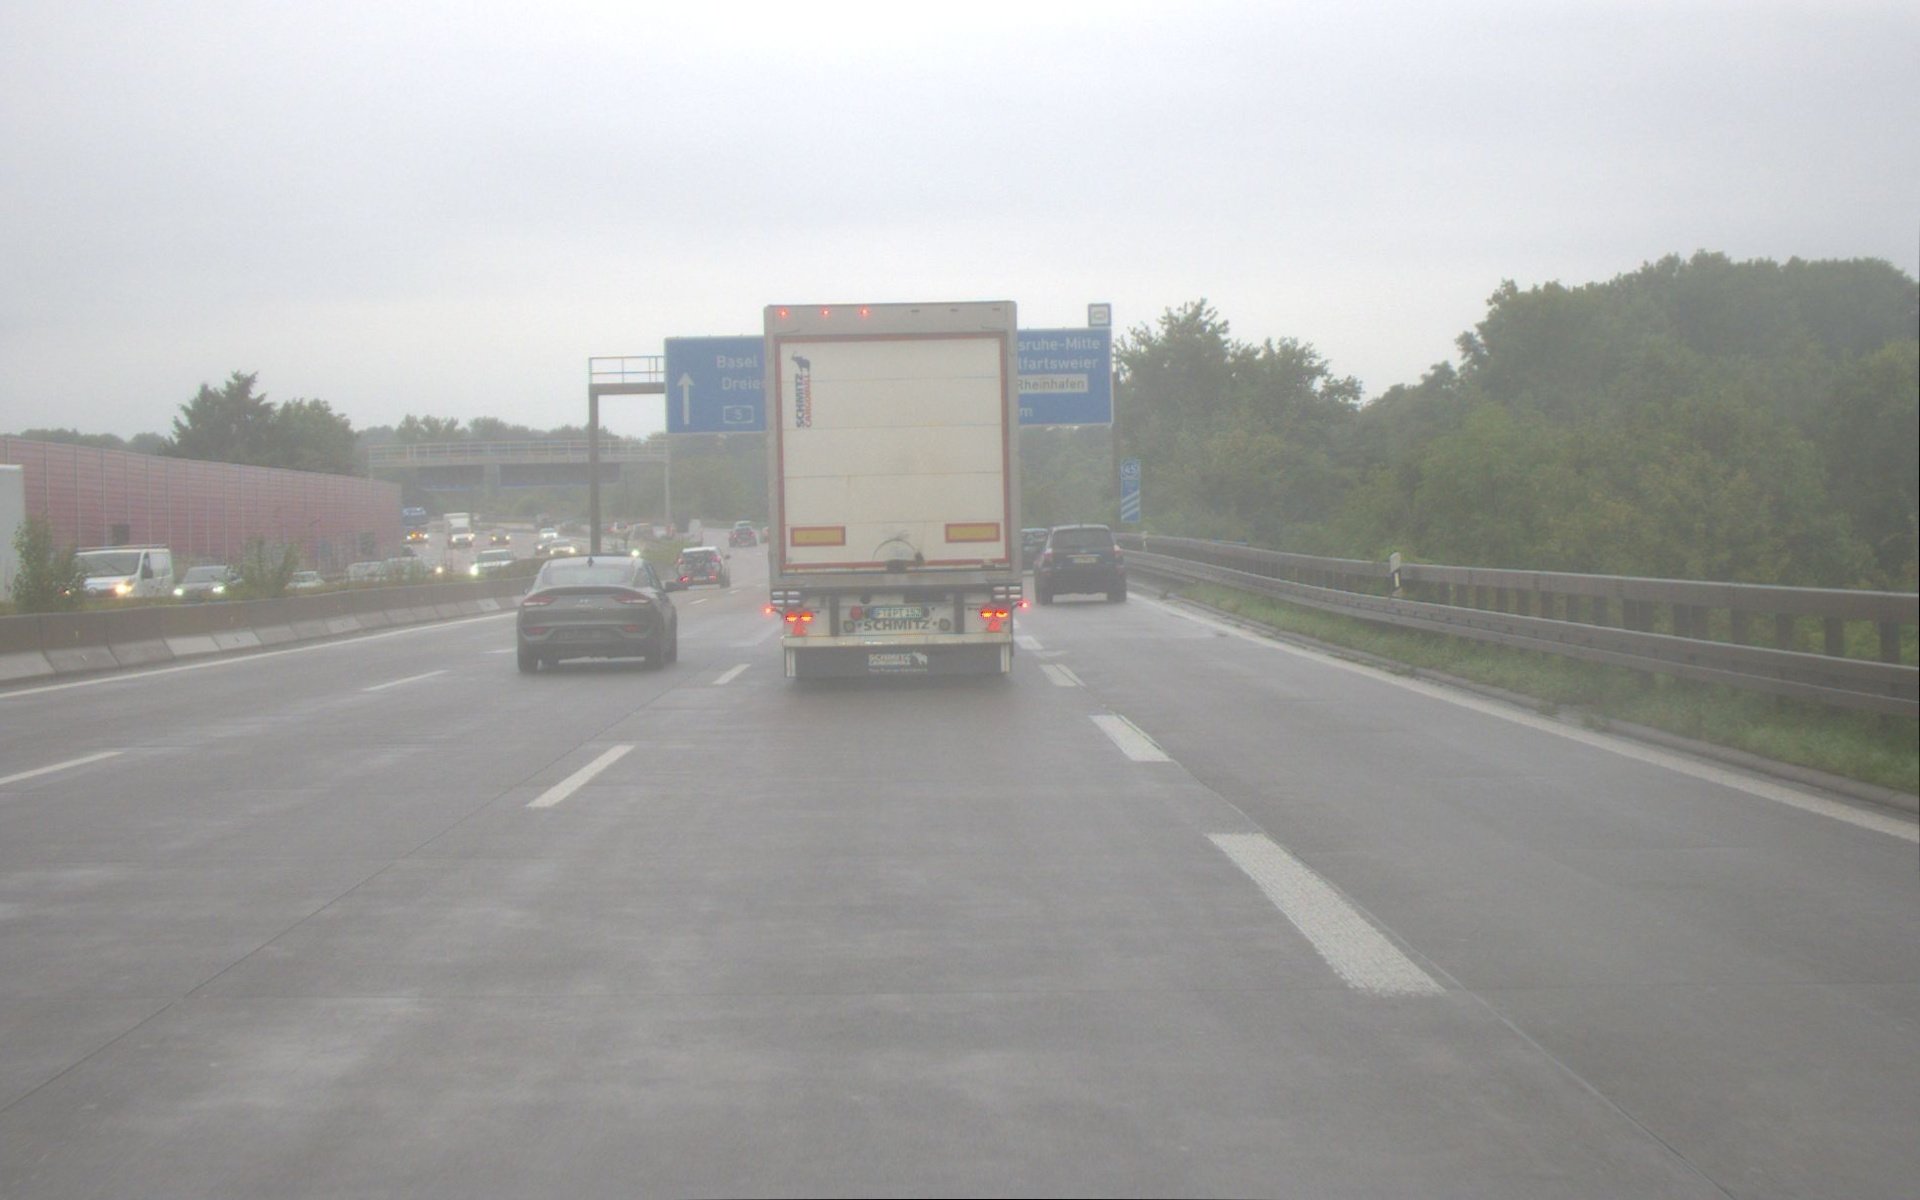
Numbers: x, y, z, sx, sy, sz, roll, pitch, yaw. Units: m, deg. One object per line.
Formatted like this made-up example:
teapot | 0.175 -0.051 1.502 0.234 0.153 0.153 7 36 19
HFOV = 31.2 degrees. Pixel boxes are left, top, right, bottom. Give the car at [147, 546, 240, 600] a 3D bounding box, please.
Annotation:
car | -24.976 -0.899 112.152 1.993 1.642 4.539 -2 1 -1

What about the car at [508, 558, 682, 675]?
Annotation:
car | -4.597 0.168 43.910 1.725 1.398 4.829 0 1 0

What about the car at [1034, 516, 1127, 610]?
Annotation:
car | 2.559 -0.810 73.914 1.897 1.943 4.000 1 1 1

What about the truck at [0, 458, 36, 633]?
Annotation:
truck | -16.513 -0.867 53.670 2.266 2.819 7.280 1 1 -1

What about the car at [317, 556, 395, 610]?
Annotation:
car | -20.828 -0.605 118.679 1.993 1.718 4.000 -2 1 -1

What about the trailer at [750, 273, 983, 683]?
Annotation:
trailer | -0.959 -1.473 42.234 2.342 4.143 14.828 0 2 0

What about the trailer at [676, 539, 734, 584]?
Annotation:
trailer | -9.423 -1.439 127.234 1.815 1.619 4.568 0 1 0

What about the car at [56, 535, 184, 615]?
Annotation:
car | -20.170 -0.623 82.723 1.993 1.853 5.543 0 1 -3

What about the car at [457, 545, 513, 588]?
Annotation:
car | -22.890 -1.648 165.835 1.993 2.007 5.807 1 1 -1
